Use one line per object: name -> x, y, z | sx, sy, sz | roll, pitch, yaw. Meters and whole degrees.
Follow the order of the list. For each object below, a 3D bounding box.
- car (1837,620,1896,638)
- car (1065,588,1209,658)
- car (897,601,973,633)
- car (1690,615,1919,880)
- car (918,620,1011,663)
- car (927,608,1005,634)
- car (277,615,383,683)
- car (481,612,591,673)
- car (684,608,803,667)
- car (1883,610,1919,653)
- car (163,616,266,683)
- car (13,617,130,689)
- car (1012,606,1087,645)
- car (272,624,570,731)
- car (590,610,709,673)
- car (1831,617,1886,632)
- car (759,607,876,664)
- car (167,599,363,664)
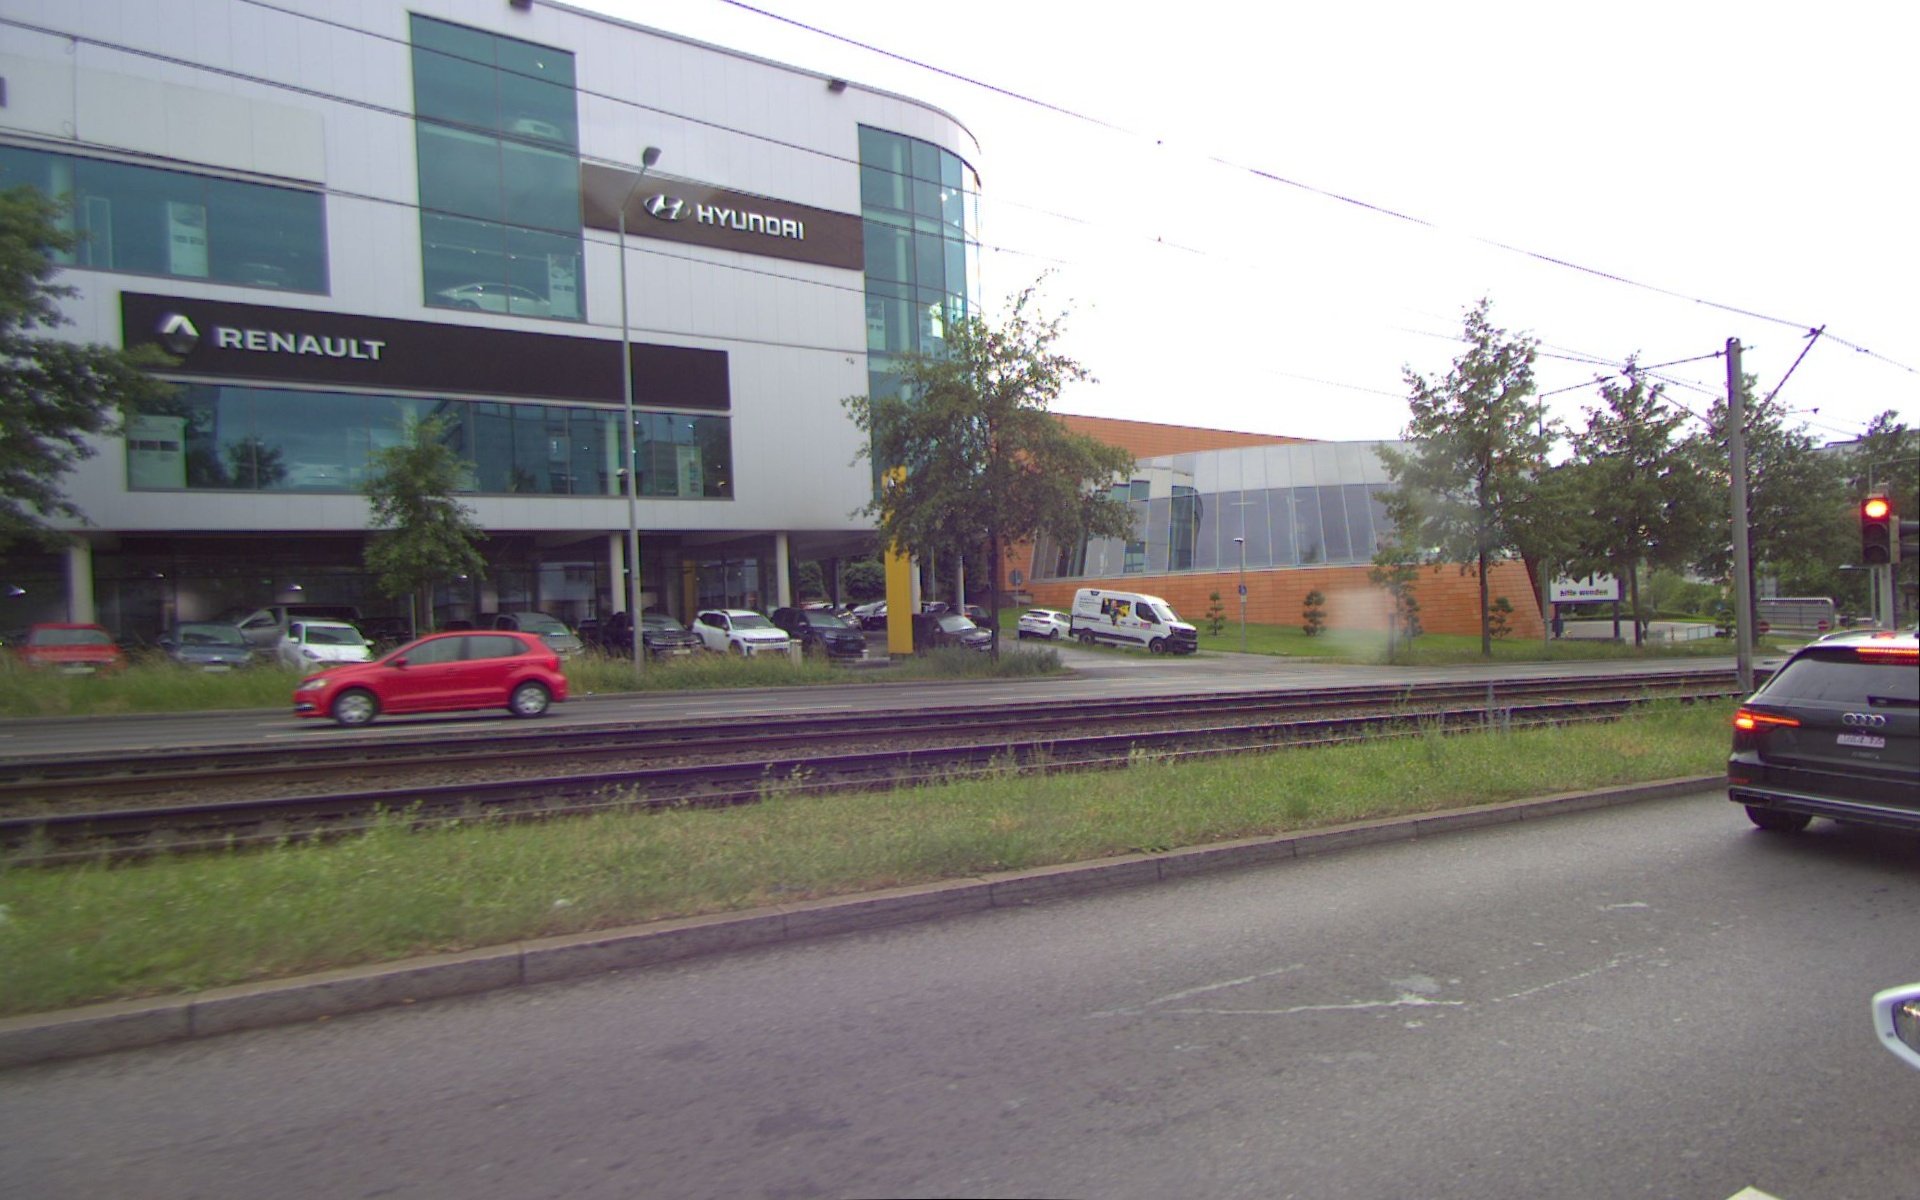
car -> 74.085, 2.371, 82.151 | 1.408, 1.405, 3.372 | 0, 0, -12
car -> 7.373, 0.906, 42.313 | 5.545, 2.616, 2.391 | 3, 2, 44
car -> -1.288, 0.899, 53.353 | 1.970, 1.653, 3.981 | 0, -1, 40
car -> 7.221, 0.866, 7.043 | 4.460, 1.486, 1.772 | 1, 0, -30
car -> 0.120, 1.439, 36.044 | 1.565, 1.409, 3.620 | 0, 0, -35
car -> 0.355, 1.051, 51.771 | 1.970, 1.297, 3.981 | 0, -1, 40
car -> -16.869, 1.249, 26.823 | 1.906, 1.479, 3.999 | 1, 2, -40
car -> -12.474, 1.173, 29.430 | 1.916, 1.479, 3.975 | 1, 2, -40
car -> -7.082, 1.156, 32.568 | 1.983, 1.571, 4.324 | 1, 2, -40
car -> 40.923, 1.297, 42.110 | 4.785, 1.742, 1.984 | 1, -3, -31
car -> -19.046, 1.191, 25.599 | 1.906, 1.370, 3.999 | 1, 2, -40
car -> -21.137, 1.180, 23.844 | 3.880, 1.370, 1.789 | 3, 2, 44
car -> 4.186, 1.152, 46.390 | 1.703, 1.688, 3.733 | 0, 0, 38
car -> -8.549, 1.176, 16.172 | 4.055, 1.533, 1.576 | 1, -3, -32
car -> -9.554, 1.204, 30.732 | 1.983, 1.571, 4.324 | 1, 2, -40
car -> 91.026, 2.490, 101.762 | 1.644, 1.455, 4.050 | 1, -3, -43
car -> -4.903, 1.145, 34.123 | 1.983, 1.637, 4.324 | 1, 2, -40
car -> -20.940, 0.911, 30.495 | 1.962, 1.806, 4.544 | 0, -1, 24
